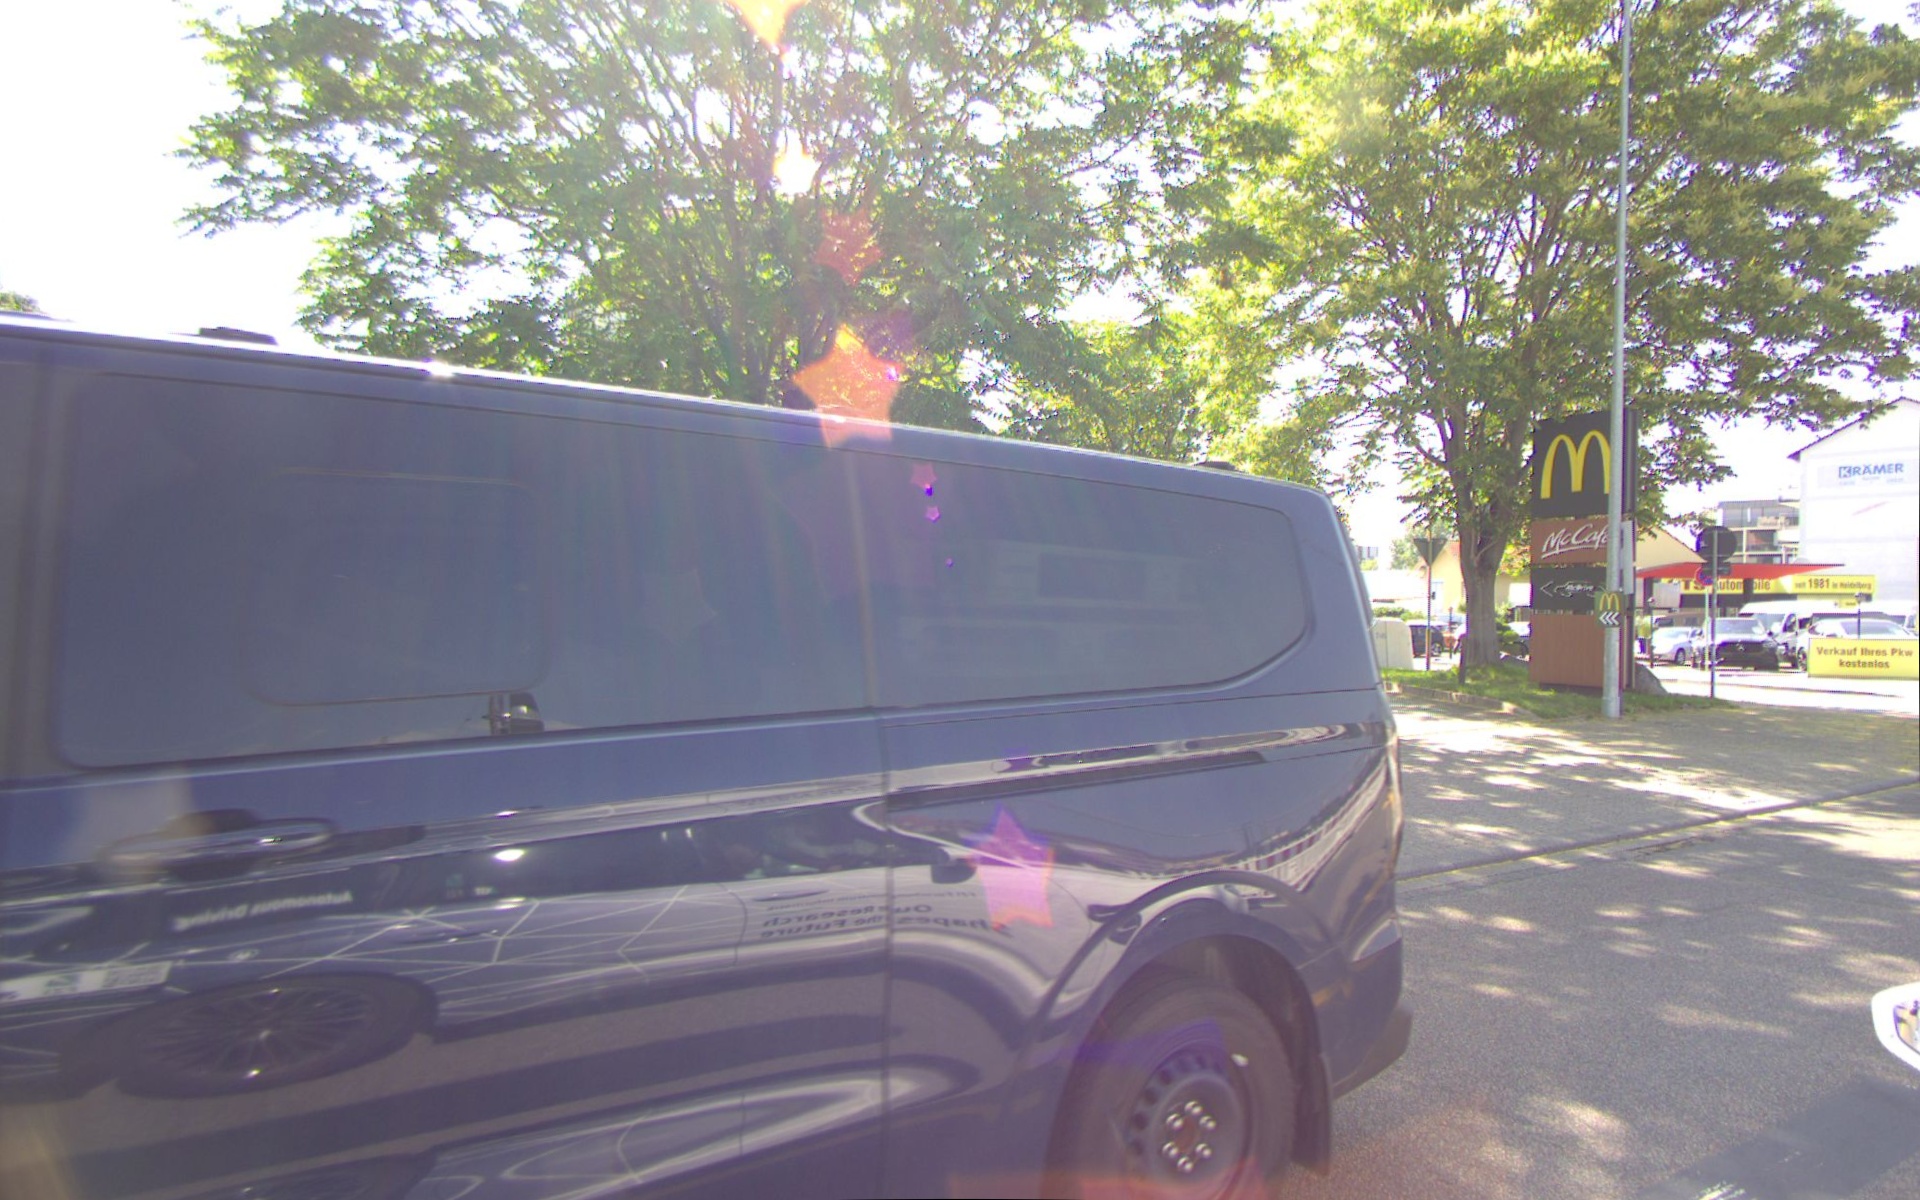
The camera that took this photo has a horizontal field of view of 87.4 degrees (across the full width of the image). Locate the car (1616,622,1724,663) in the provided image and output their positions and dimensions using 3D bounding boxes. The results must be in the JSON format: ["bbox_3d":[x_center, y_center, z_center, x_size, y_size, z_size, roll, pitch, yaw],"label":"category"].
[{"bbox_3d":[28.036,1.677,39.664,3.948,1.507,1.782,2,0,-26],"label":"car"}]

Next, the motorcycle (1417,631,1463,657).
[{"bbox_3d":[23.471,2.155,49.134,1.837,1.174,0.790,2,0,7],"label":"motorcycle"}]

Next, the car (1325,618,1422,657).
[{"bbox_3d":[20.397,1.840,49.621,3.924,1.728,1.998,2,0,-5],"label":"car"}]

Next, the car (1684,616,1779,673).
[{"bbox_3d":[24.831,1.391,32.479,2.018,1.616,4.412,2,0,33],"label":"car"}]

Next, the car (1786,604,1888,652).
[{"bbox_3d":[35.073,1.110,40.152,4.672,1.761,1.866,1,1,-33],"label":"car"}]

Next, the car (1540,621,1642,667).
[{"bbox_3d":[23.043,1.607,36.660,3.961,1.530,1.776,2,0,-35],"label":"car"}]

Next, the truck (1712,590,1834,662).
[{"bbox_3d":[35.632,1.146,43.976,5.876,2.943,2.257,1,1,-32],"label":"truck"}]

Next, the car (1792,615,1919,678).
[{"bbox_3d":[27.732,1.375,30.981,1.961,1.748,3.999,2,0,22],"label":"car"}]

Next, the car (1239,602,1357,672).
[{"bbox_3d":[8.937,0.908,27.037,1.918,1.604,5.033,2,1,6],"label":"car"}]

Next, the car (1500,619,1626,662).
[{"bbox_3d":[25.673,1.686,42.951,4.249,1.606,2.000,2,0,19],"label":"car"}]

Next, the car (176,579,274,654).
[{"bbox_3d":[-17.596,0.333,23.986,1.758,1.593,3.956,0,2,-38],"label":"car"}]

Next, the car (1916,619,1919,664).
[{"bbox_3d":[36.392,1.550,36.739,1.835,1.651,3.980,1,0,41],"label":"car"}]

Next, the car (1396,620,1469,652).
[{"bbox_3d":[25.992,1.946,55.411,1.961,1.606,3.998,2,0,-3],"label":"car"}]

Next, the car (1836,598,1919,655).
[{"bbox_3d":[40.014,1.126,43.524,4.665,2.315,2.121,1,0,-36],"label":"car"}]

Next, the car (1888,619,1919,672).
[{"bbox_3d":[32.091,1.492,33.259,1.835,1.651,3.980,1,0,41],"label":"car"}]

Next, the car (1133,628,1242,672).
[{"bbox_3d":[7.778,1.713,34.514,3.349,1.397,1.485,0,2,-3],"label":"car"}]

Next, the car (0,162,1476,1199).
[{"bbox_3d":[-1.518,0.508,2.247,5.379,1.993,2.167,2,-3,-29],"label":"car"}]

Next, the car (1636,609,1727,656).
[{"bbox_3d":[33.341,1.510,46.412,4.449,2.040,1.981,2,0,-34],"label":"car"}]

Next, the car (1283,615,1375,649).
[{"bbox_3d":[21.217,1.855,57.801,4.573,1.748,1.995,2,-1,-12],"label":"car"}]
